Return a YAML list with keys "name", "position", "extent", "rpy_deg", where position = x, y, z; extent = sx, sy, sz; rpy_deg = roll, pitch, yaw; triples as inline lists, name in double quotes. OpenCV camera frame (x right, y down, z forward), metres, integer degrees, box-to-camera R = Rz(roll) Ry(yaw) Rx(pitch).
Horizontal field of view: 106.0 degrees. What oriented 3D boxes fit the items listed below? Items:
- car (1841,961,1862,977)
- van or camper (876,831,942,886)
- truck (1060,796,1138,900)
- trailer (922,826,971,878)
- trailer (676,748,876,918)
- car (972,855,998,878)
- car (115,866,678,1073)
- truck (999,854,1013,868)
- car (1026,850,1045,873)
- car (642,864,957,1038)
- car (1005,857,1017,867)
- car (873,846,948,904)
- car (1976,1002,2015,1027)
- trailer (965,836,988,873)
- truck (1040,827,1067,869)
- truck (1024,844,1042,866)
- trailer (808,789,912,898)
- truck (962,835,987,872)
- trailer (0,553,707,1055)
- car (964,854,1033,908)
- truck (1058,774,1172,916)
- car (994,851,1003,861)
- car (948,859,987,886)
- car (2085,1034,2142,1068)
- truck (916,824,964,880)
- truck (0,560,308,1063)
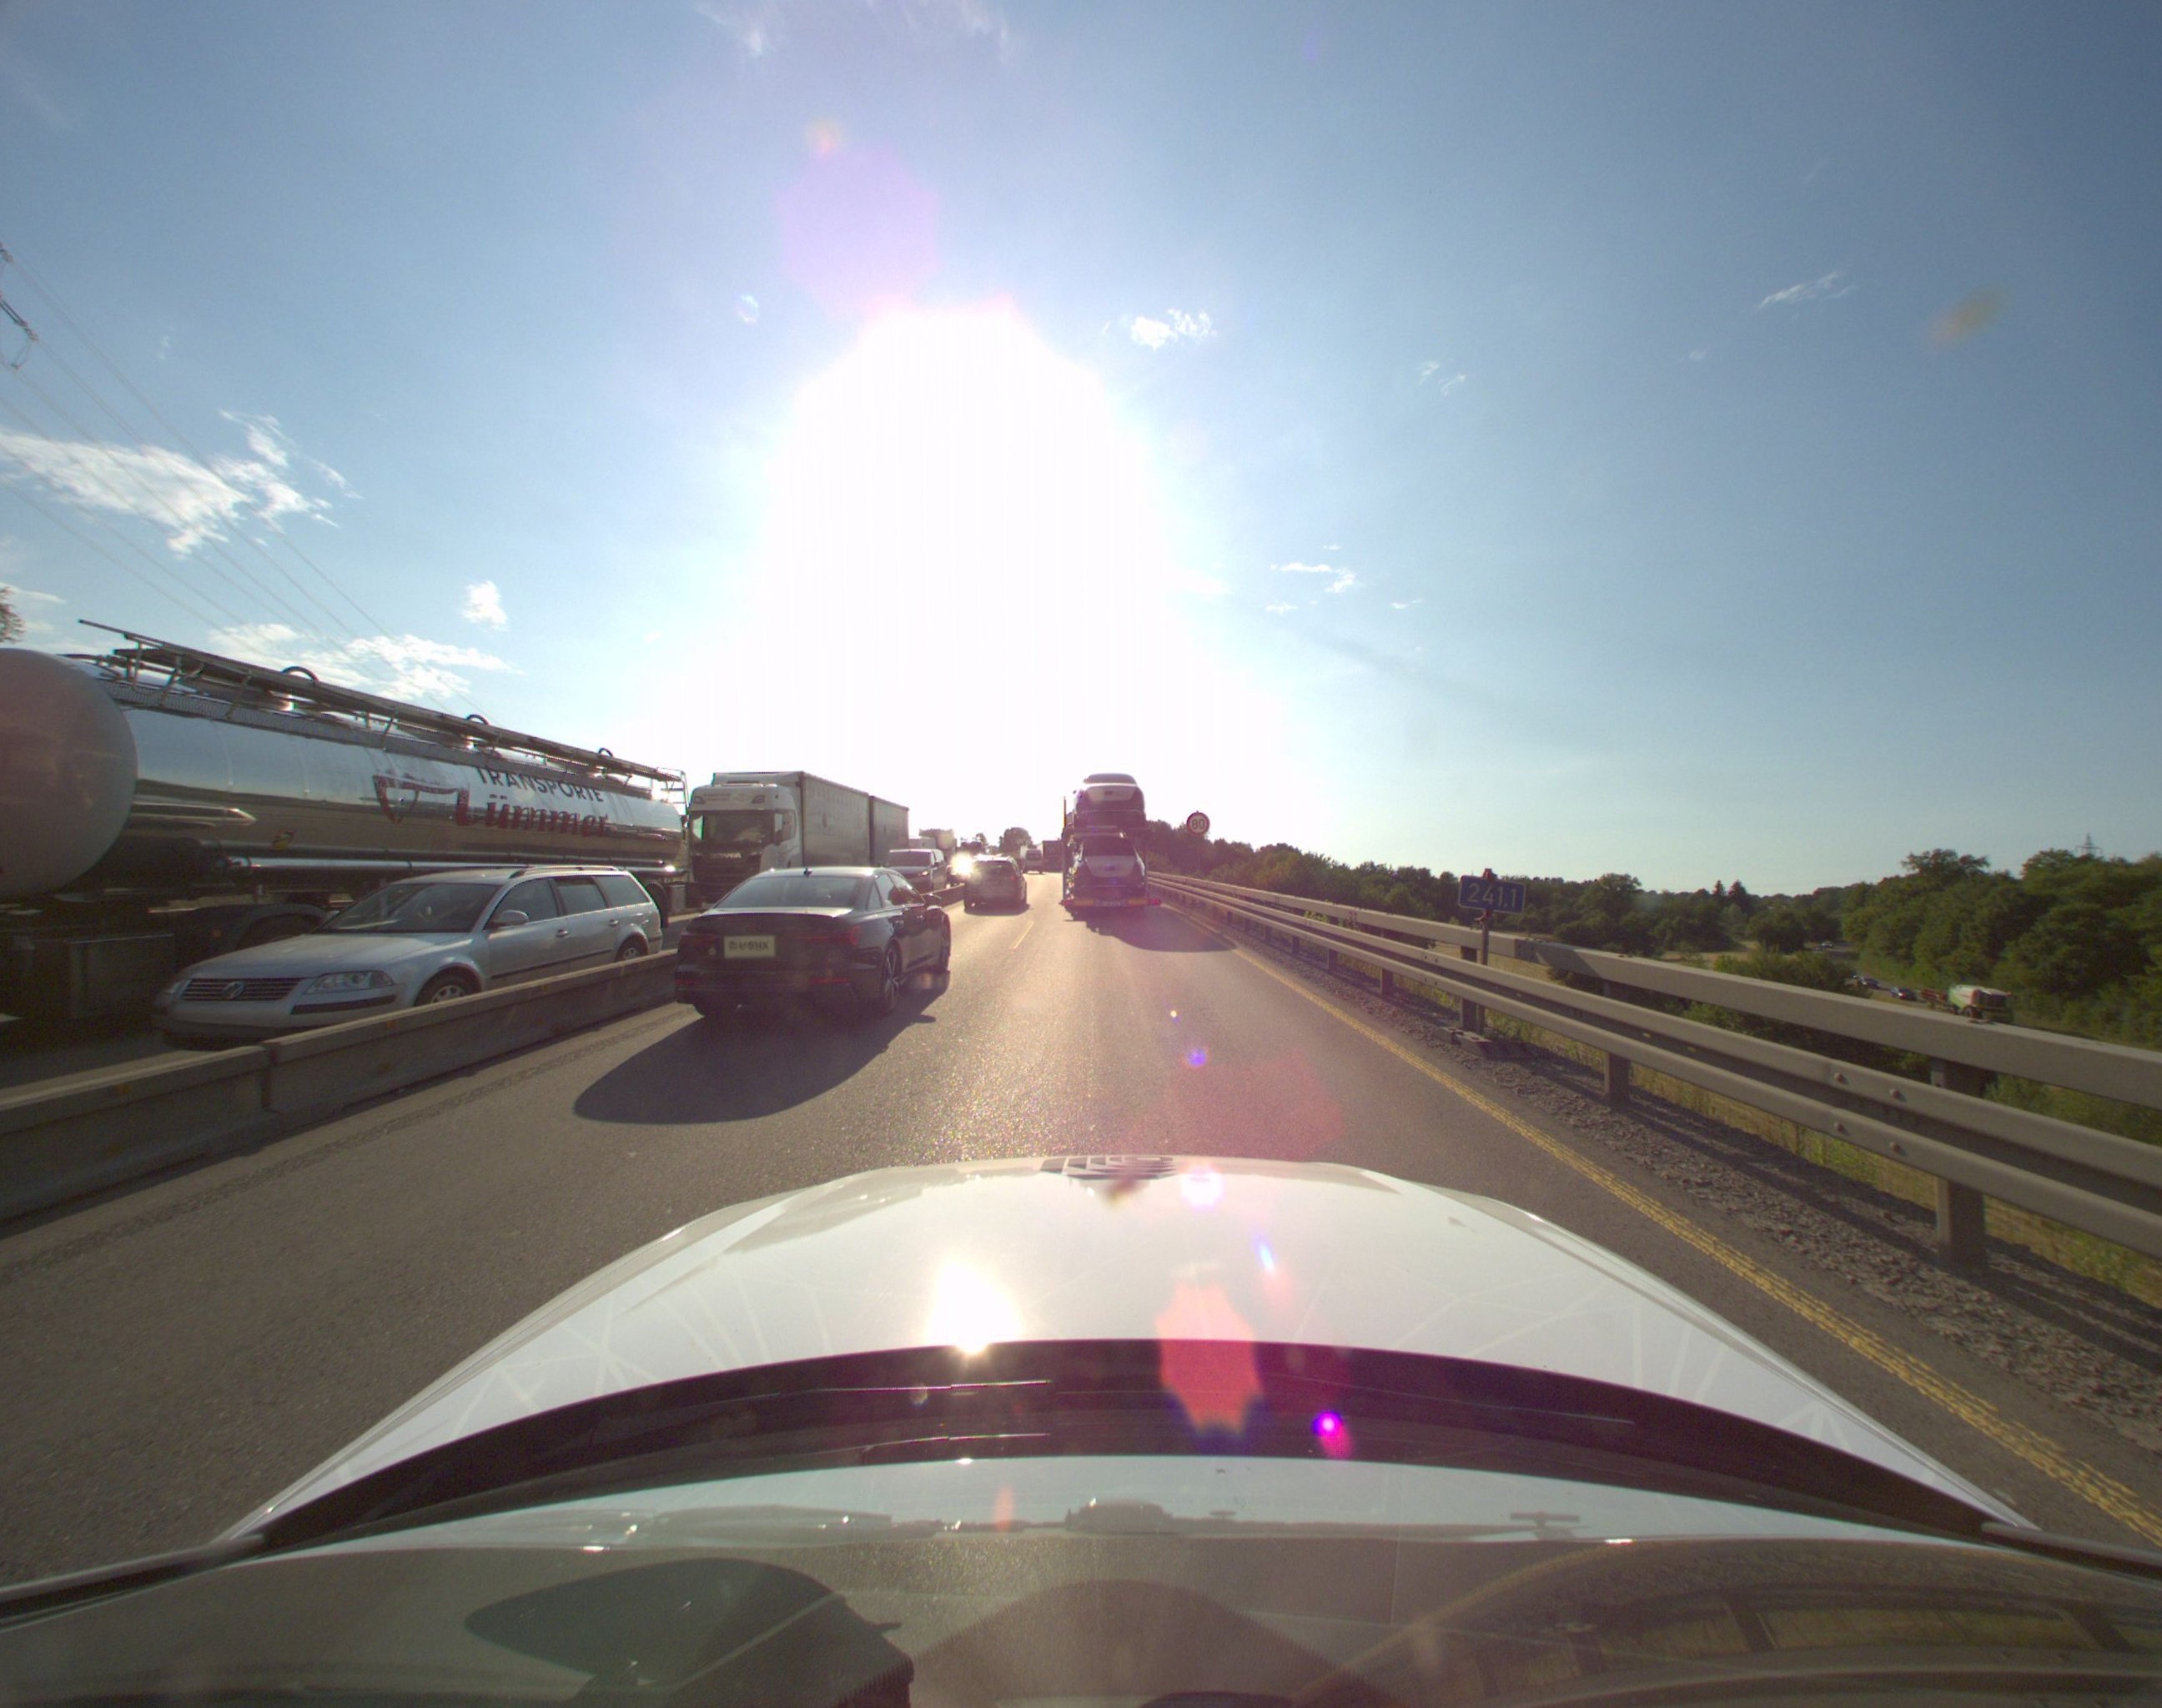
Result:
- name: "car"
  position: [130.361, 19.427, 137.780]
  extent: [1.858, 2.014, 4.025]
  rpy_deg: [-1, -1, 32]
- name: "van or camper"
  position: [-9.717, 0.285, 46.749]
  extent: [2.402, 2.891, 7.611]
  rpy_deg: [0, -1, -2]
- name: "truck"
  position: [0.616, -0.158, 34.975]
  extent: [2.829, 3.792, 9.982]
  rpy_deg: [0, -1, -1]
- name: "trailer"
  position: [-10.513, -0.043, 64.996]
  extent: [2.515, 3.725, 13.957]
  rpy_deg: [0, -1, -4]
- name: "trailer"
  position: [-9.097, -0.477, 26.012]
  extent: [2.468, 4.329, 10.507]
  rpy_deg: [0, -1, 0]
- name: "car"
  position: [-7.228, 0.930, 61.812]
  extent: [1.753, 1.695, 4.446]
  rpy_deg: [0, -1, -4]
- name: "car"
  position: [-5.980, 0.849, 8.083]
  extent: [1.622, 1.426, 4.657]
  rpy_deg: [-1, -1, 0]
- name: "truck"
  position: [-17.231, 1.611, 187.529]
  extent: [2.583, 3.170, 6.672]
  rpy_deg: [0, -1, -1]
- name: "car"
  position: [-4.994, 0.848, 90.037]
  extent: [1.915, 2.493, 5.404]
  rpy_deg: [0, -1, -2]
- name: "car"
  position: [-2.730, 0.838, 9.306]
  extent: [1.929, 1.399, 4.958]
  rpy_deg: [0, 0, -1]
- name: "car"
  position: [-13.054, 1.554, 151.600]
  extent: [1.820, 1.772, 3.999]
  rpy_deg: [-1, -1, 0]
- name: "car"
  position: [-6.089, 0.740, 29.697]
  extent: [1.812, 1.925, 4.833]
  rpy_deg: [0, -1, -1]
- name: "car"
  position: [103.941, 18.200, 92.650]
  extent: [1.858, 2.014, 4.025]
  rpy_deg: [-1, -1, 32]
- name: "trailer"
  position: [-12.691, 0.130, 99.399]
  extent: [2.304, 4.130, 14.570]
  rpy_deg: [0, -1, -6]
- name: "truck"
  position: [-3.715, -0.684, 107.563]
  extent: [3.279, 5.237, 9.921]
  rpy_deg: [0, -1, -4]
- name: "truck"
  position: [-8.003, 0.243, 137.324]
  extent: [2.523, 3.648, 8.902]
  rpy_deg: [0, -1, 0]
- name: "trailer"
  position: [-9.346, -0.355, 35.500]
  extent: [2.436, 4.189, 8.537]
  rpy_deg: [0, -1, -2]
- name: "truck"
  position: [-11.917, -0.006, 91.477]
  extent: [2.499, 4.066, 5.654]
  rpy_deg: [0, -1, -5]
- name: "trailer"
  position: [-9.380, -0.294, 11.995]
  extent: [2.300, 3.790, 12.047]
  rpy_deg: [0, -1, -1]
- name: "car"
  position: [-2.567, 0.822, 26.187]
  extent: [1.685, 1.596, 4.001]
  rpy_deg: [-1, -1, 1]
- name: "truck"
  position: [0.779, -0.162, 25.481]
  extent: [2.791, 3.497, 10.600]
  rpy_deg: [0, -1, -1]
- name: "car"
  position: [-16.939, 0.361, 167.117]
  extent: [1.628, 2.014, 3.990]
  rpy_deg: [0, -1, -7]
- name: "car"
  position: [-6.540, 1.051, 47.338]
  extent: [1.675, 1.479, 4.600]
  rpy_deg: [0, -1, -1]
- name: "car"
  position: [90.480, 17.227, 71.422]
  extent: [1.858, 2.014, 4.025]
  rpy_deg: [-1, -1, 32]
- name: "truck"
  position: [-10.074, -0.082, 58.679]
  extent: [2.595, 3.754, 6.509]
  rpy_deg: [0, -1, -3]
- name: "truck"
  position: [-9.342, -0.316, 5.715]
  extent: [2.425, 3.785, 5.616]
  rpy_deg: [0, -1, 0]
